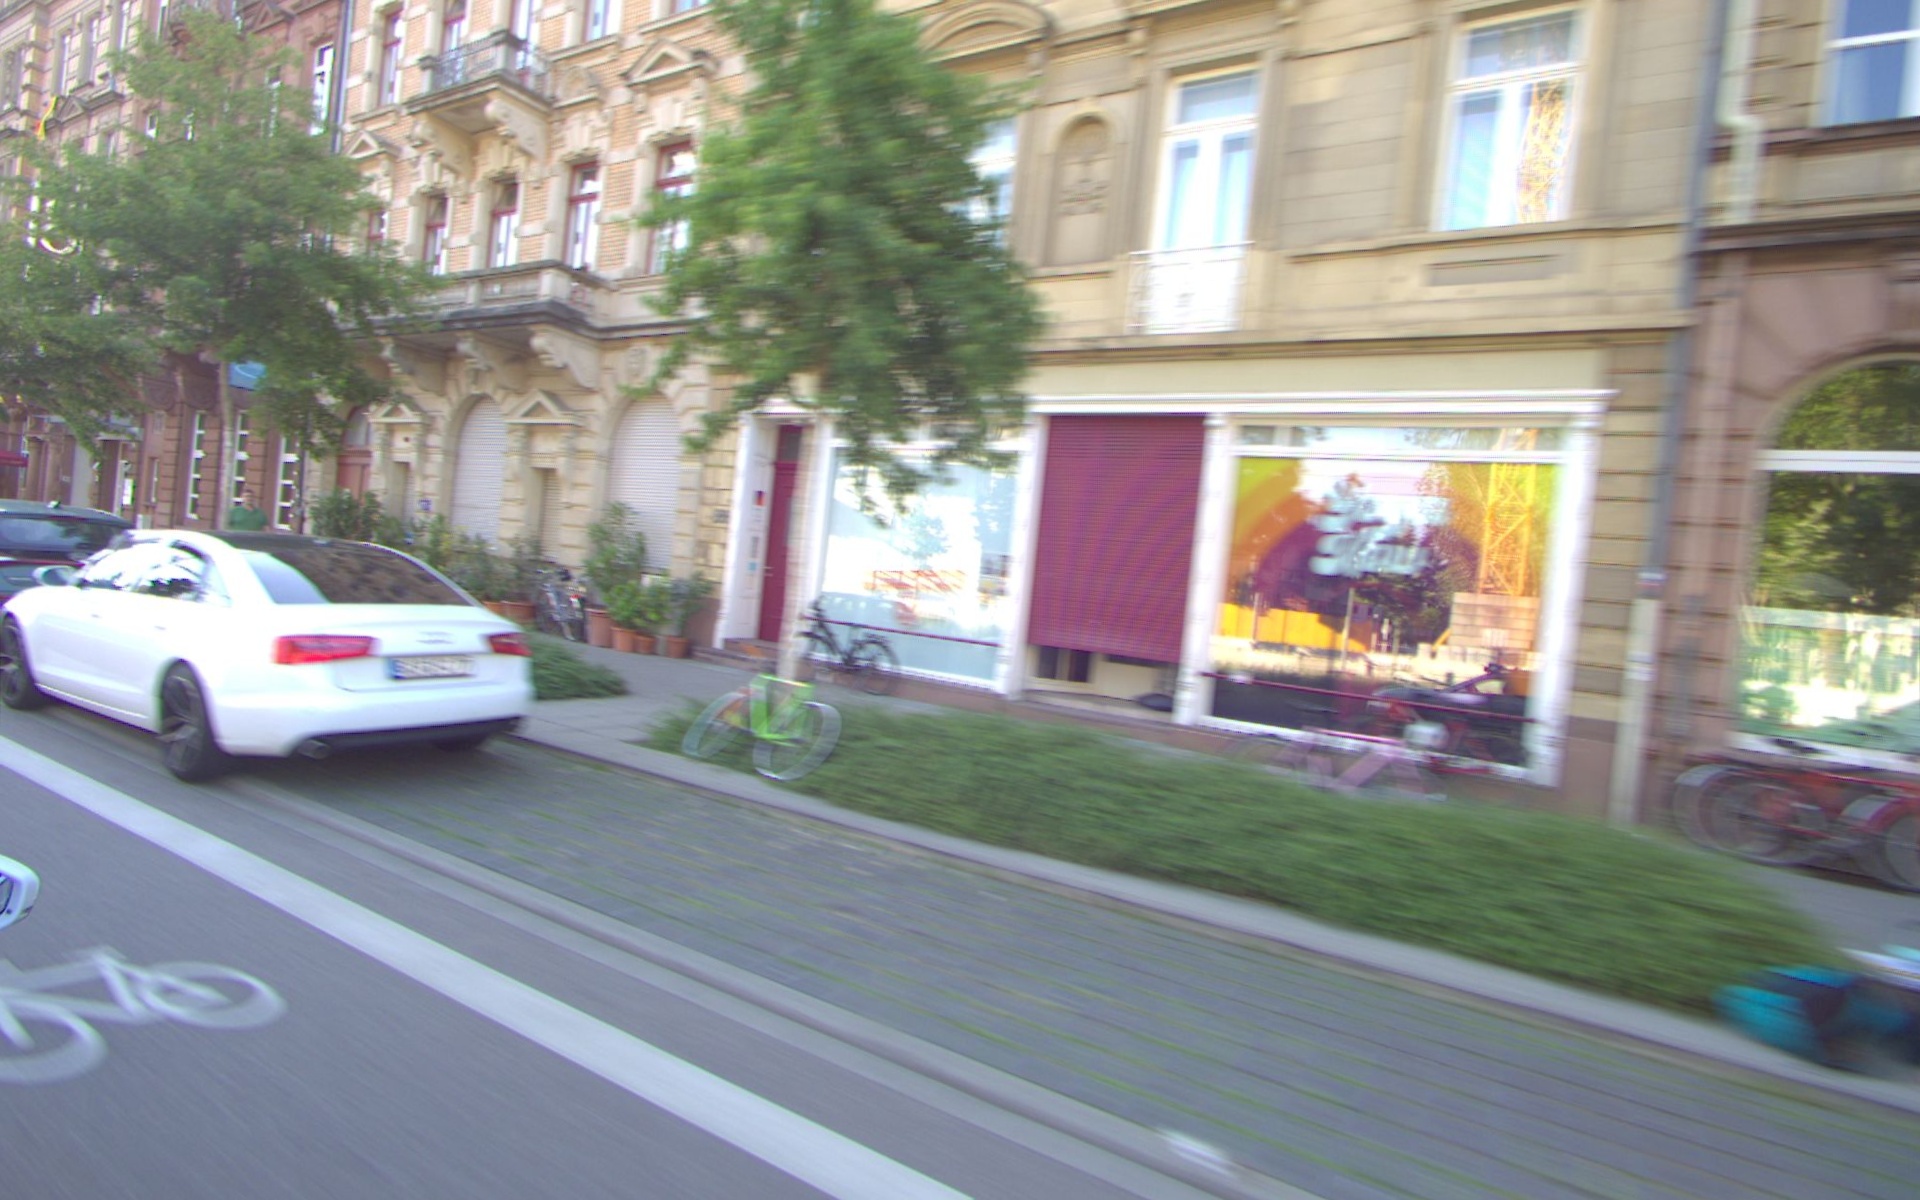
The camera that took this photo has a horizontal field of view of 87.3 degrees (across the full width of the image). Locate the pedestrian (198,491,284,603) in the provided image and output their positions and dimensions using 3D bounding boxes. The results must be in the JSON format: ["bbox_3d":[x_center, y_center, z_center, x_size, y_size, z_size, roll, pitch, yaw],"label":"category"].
[{"bbox_3d":[-12.168,-0.893,17.020,1.054,1.777,0.747,7,2,32],"label":"pedestrian"}]

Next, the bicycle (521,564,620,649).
[{"bbox_3d":[-5.901,0.089,15.209,1.649,1.093,0.385,7,0,33],"label":"bicycle"}]

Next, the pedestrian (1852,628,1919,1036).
[{"bbox_3d":[4.450,1.029,4.347,0.475,1.749,0.575,6,0,-13],"label":"pedestrian"}]

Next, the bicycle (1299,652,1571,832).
[{"bbox_3d":[4.242,1.214,9.054,2.038,1.235,0.705,6,0,32],"label":"bicycle"}]

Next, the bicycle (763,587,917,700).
[{"bbox_3d":[-1.541,0.539,12.820,1.742,1.210,0.720,7,0,29],"label":"bicycle"}]

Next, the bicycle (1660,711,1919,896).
[{"bbox_3d":[6.511,1.516,7.476,2.038,1.078,0.324,6,0,32],"label":"bicycle"}]

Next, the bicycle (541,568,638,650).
[{"bbox_3d":[-5.745,0.125,15.567,1.649,1.093,0.385,7,0,33],"label":"bicycle"}]

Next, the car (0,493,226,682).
[{"bbox_3d":[-9.620,-0.260,10.385,4.226,1.585,1.849,7,2,33],"label":"car"}]

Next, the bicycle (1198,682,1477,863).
[{"bbox_3d":[2.629,1.149,7.067,1.655,0.927,0.655,6,0,32],"label":"bicycle"}]

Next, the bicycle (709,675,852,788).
[{"bbox_3d":[-1.324,0.941,7.376,0.985,0.655,0.355,6,0,32],"label":"bicycle"}]

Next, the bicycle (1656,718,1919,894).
[{"bbox_3d":[6.685,1.589,7.774,2.038,1.045,0.343,6,0,32],"label":"bicycle"}]

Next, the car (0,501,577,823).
[{"bbox_3d":[-5.312,0.205,7.346,5.164,1.473,1.849,7,2,31],"label":"car"}]
